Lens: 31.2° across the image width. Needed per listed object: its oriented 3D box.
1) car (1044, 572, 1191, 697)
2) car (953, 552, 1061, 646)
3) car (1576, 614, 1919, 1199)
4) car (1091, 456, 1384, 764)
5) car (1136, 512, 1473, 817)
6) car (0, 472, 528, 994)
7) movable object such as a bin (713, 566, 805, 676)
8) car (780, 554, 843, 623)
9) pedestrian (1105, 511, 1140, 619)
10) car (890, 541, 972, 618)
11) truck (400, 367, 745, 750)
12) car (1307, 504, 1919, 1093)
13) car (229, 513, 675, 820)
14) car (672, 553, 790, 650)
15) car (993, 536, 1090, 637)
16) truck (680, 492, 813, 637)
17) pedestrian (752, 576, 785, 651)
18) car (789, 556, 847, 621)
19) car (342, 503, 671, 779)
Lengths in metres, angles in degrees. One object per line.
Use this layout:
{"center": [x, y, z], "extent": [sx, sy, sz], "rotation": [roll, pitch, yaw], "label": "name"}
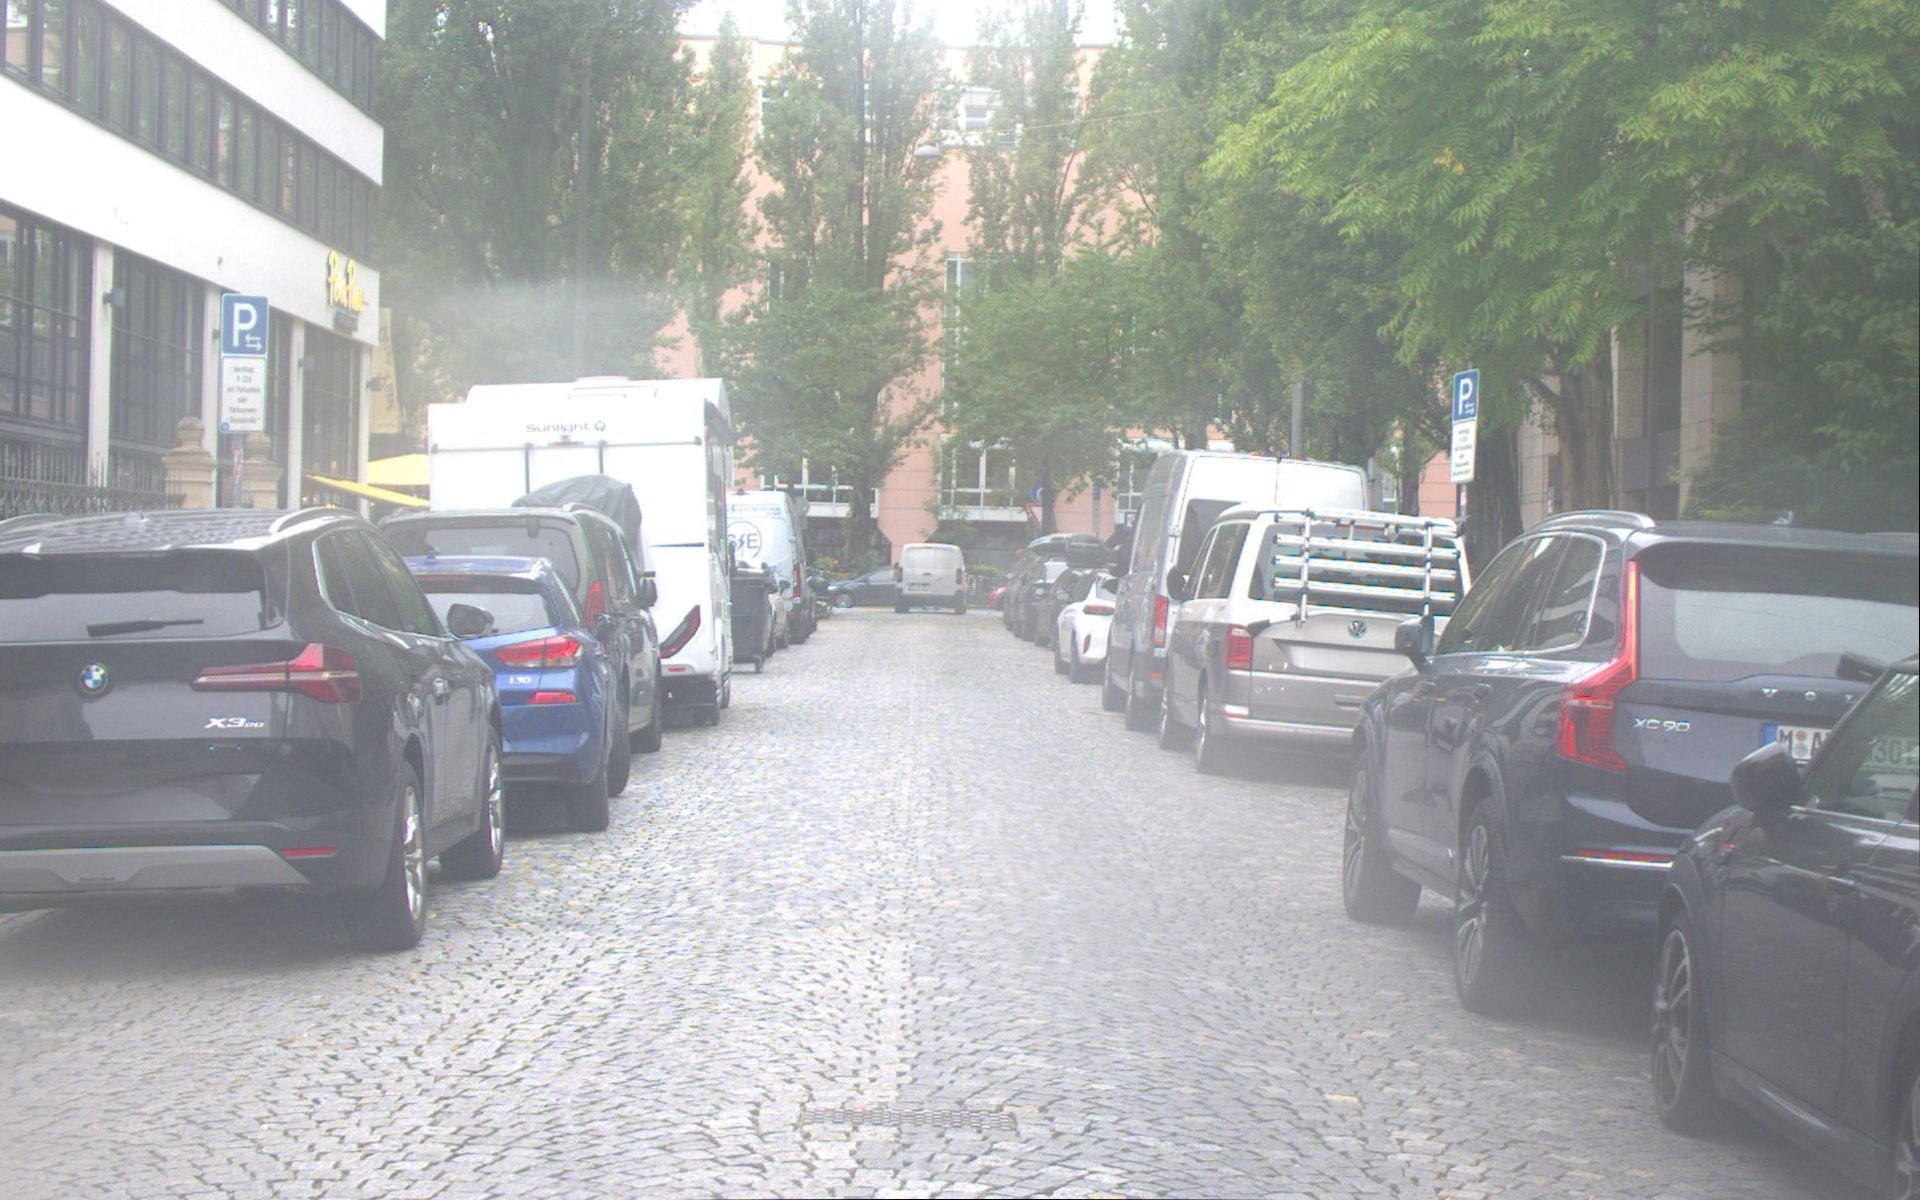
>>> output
{"center": [1.995, 0.423, 44.263], "extent": [1.599, 1.481, 3.479], "rotation": [2, 0, -1], "label": "car"}
{"center": [0.857, -0.020, 62.816], "extent": [1.868, 1.599, 3.272], "rotation": [2, 0, 1], "label": "car"}
{"center": [2.771, 0.825, 8.303], "extent": [1.683, 1.448, 3.966], "rotation": [4, 0, -1], "label": "car"}
{"center": [2.443, 0.035, 31.742], "extent": [1.895, 2.418, 5.611], "rotation": [6, 1, -1], "label": "car"}
{"center": [2.486, 0.434, 25.957], "extent": [1.800, 1.943, 4.860], "rotation": [5, 0, -1], "label": "car"}
{"center": [-2.880, 0.439, 13.821], "extent": [1.773, 1.712, 4.391], "rotation": [2, 0, -1], "label": "car"}
{"center": [-2.573, 0.265, 44.087], "extent": [1.064, 1.359, 1.289], "rotation": [2, 0, -1], "label": "movable object such as a bin"}
{"center": [-3.446, -0.266, 79.995], "extent": [1.290, 1.534, 3.119], "rotation": [2, 0, -1], "label": "car"}
{"center": [3.714, -0.811, 78.558], "extent": [0.711, 2.417, 0.813], "rotation": [-2, 3, 1], "label": "pedestrian"}
{"center": [-0.736, -0.533, 90.630], "extent": [1.996, 1.929, 4.000], "rotation": [2, 0, 1], "label": "car"}
{"center": [-3.258, -0.373, 30.338], "extent": [2.508, 3.021, 6.385], "rotation": [0, 1, -2], "label": "truck"}
{"center": [2.630, 0.619, 13.002], "extent": [1.963, 1.753, 4.954], "rotation": [2, 0, -1], "label": "car"}
{"center": [-2.702, 0.331, 19.189], "extent": [1.940, 1.454, 4.058], "rotation": [2, 0, -2], "label": "car"}
{"center": [-3.664, 0.020, 55.507], "extent": [1.662, 1.450, 3.548], "rotation": [2, 0, -1], "label": "car"}
{"center": [1.652, -0.263, 70.758], "extent": [1.868, 1.954, 4.000], "rotation": [2, 0, 1], "label": "car"}
{"center": [-3.653, -0.591, 59.445], "extent": [1.993, 2.338, 4.068], "rotation": [2, 0, -1], "label": "truck"}
{"center": [-4.952, 0.342, 88.699], "extent": [0.725, 1.904, 0.641], "rotation": [2, 0, 1], "label": "pedestrian"}
{"center": [-3.498, -0.287, 85.048], "extent": [1.276, 1.536, 3.119], "rotation": [2, 0, -1], "label": "car"}
{"center": [-3.092, 0.241, 24.204], "extent": [1.894, 1.745, 4.168], "rotation": [1, 1, -2], "label": "car"}
